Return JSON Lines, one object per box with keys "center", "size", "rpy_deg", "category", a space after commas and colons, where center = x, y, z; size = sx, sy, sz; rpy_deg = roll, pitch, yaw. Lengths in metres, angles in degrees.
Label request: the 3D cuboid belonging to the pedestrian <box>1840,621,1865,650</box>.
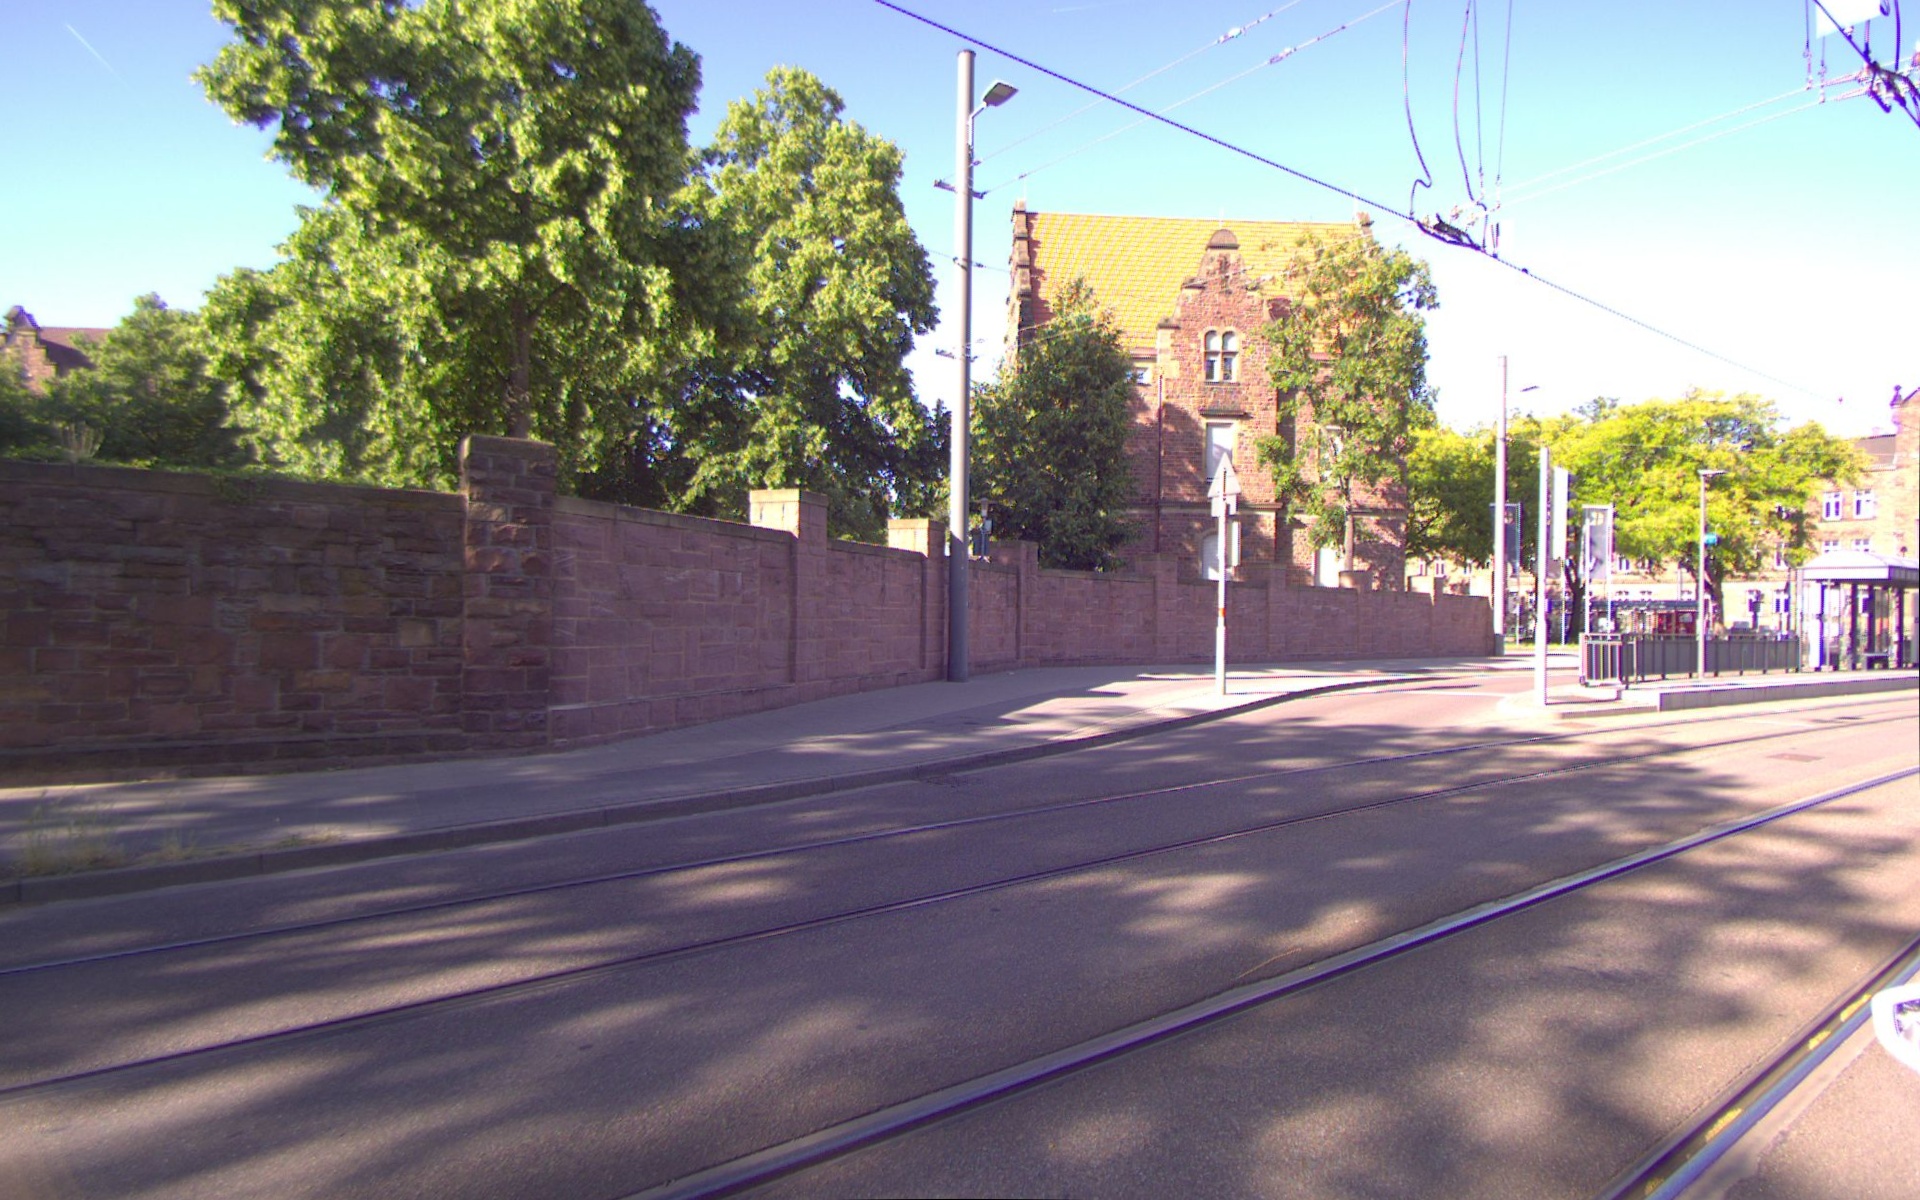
{"center": [51.275, 2.045, 57.698], "size": [0.924, 1.609, 0.798], "rpy_deg": [2, 0, -32], "category": "pedestrian"}
